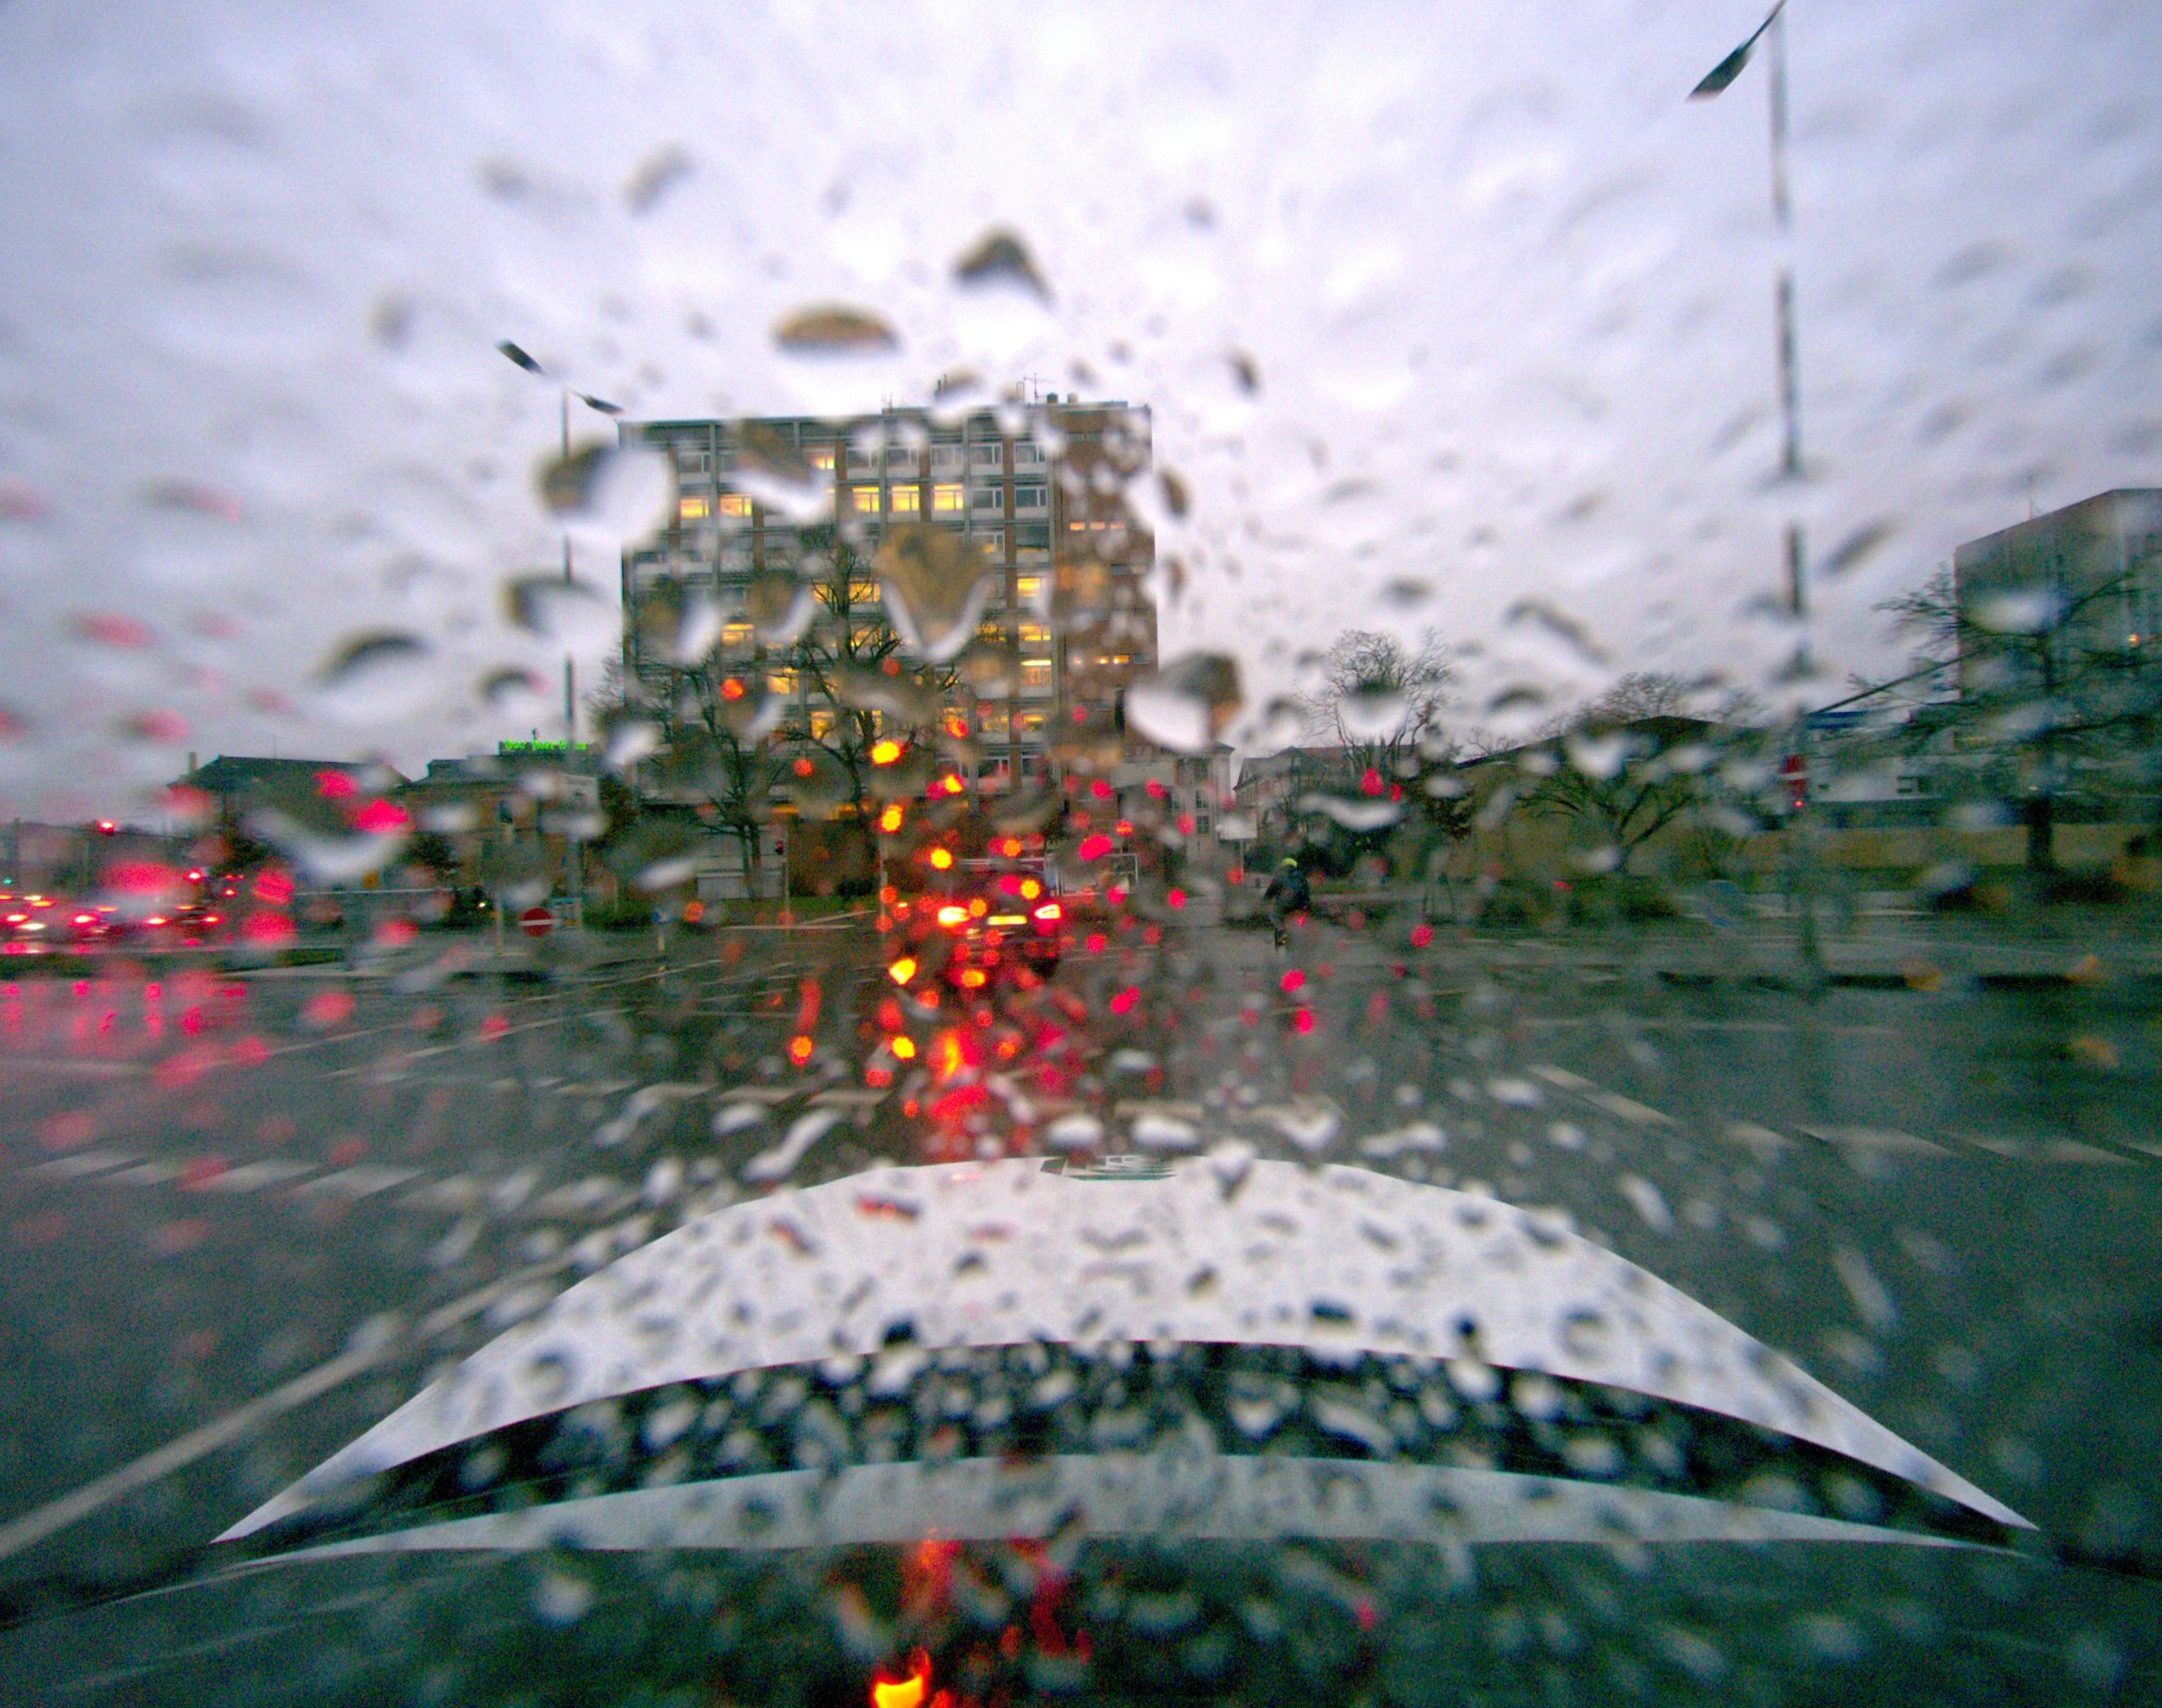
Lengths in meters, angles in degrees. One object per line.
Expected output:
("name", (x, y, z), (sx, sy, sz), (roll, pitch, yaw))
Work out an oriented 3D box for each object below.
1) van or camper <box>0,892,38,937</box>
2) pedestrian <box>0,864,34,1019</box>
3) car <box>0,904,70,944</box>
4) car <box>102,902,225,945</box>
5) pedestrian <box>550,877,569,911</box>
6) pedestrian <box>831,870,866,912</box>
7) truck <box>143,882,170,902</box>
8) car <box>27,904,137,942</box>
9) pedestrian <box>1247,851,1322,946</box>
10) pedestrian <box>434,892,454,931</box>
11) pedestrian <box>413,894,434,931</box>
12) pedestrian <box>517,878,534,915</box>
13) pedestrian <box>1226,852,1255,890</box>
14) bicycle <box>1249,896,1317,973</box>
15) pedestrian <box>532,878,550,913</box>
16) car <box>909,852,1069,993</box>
("van or camper", (-53.303, 2.975, 39.758), (4.923, 2.110, 2.222), (-3, -2, 30))
("pedestrian", (-14.984, 1.163, 10.691), (1.023, 2.050, 1.221), (0, 0, 18))
("car", (-45.720, 2.984, 35.058), (4.484, 1.601, 1.801), (-2, -3, 27))
("car", (-33.292, 2.494, 29.547), (3.825, 1.482, 1.715), (-2, -4, 22))
("pedestrian", (-26.657, 2.031, 41.597), (0.723, 1.688, 0.751), (-2, -1, -37))
("pedestrian", (-9.949, 1.577, 34.851), (1.057, 1.687, 0.814), (-3, 1, 22))
("truck", (-132.035, 5.393, 116.352), (2.011, 2.691, 5.052), (-2, -1, -44))
("car", (-39.488, 2.731, 32.186), (4.070, 1.404, 1.673), (-3, -3, 23))
("pedestrian", (2.991, 0.633, 12.061), (0.871, 1.316, 0.849), (-3, 0, 2))
("pedestrian", (-34.547, 3.103, 44.194), (0.813, 2.014, 0.752), (1, 0, -37))
("pedestrian", (-35.232, 3.127, 43.669), (0.813, 1.930, 0.752), (1, 0, -37))
("pedestrian", (-27.796, 2.120, 40.726), (0.588, 1.781, 0.760), (-3, 0, -37))
("pedestrian", (7.294, 0.771, 37.279), (0.929, 1.687, 0.905), (-1, 1, -26))
("bicycle", (3.041, 1.180, 12.418), (0.559, 0.947, 2.096), (-2, 0, 2))
("pedestrian", (-27.258, 2.095, 41.100), (0.673, 1.687, 0.605), (-3, 2, -37))
("car", (-1.653, 0.948, 12.958), (1.782, 1.800, 4.399), (-1, -1, -16))
